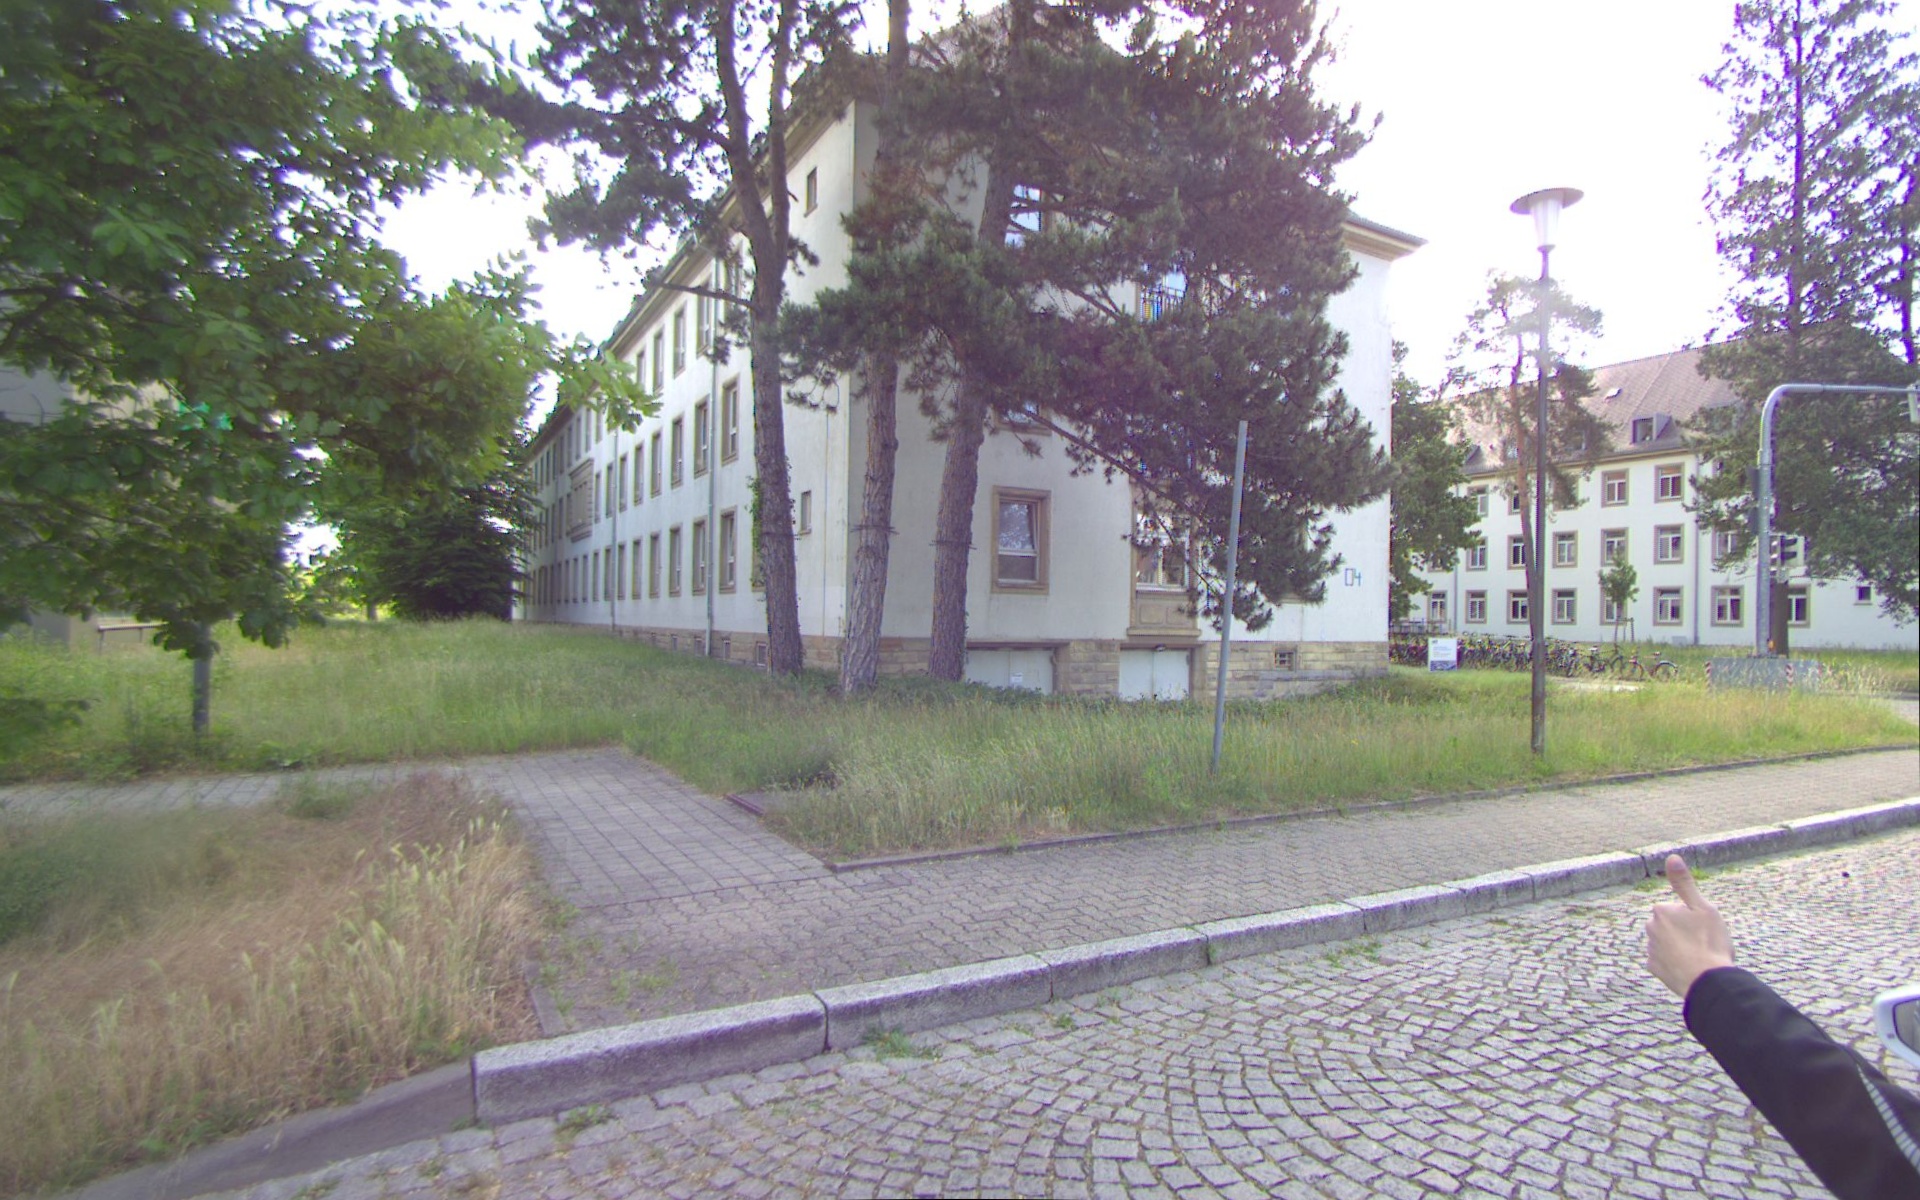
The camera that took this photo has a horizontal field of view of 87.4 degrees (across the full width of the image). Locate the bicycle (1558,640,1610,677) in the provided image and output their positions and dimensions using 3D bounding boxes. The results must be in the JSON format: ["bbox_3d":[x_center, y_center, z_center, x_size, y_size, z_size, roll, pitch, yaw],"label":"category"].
[{"bbox_3d":[21.277,1.990,34.251,2.080,1.237,0.630,2,-1,-31],"label":"bicycle"}]

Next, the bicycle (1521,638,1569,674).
[{"bbox_3d":[20.926,1.988,35.906,2.006,1.237,0.576,2,-1,-31],"label":"bicycle"}]

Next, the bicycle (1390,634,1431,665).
[{"bbox_3d":[18.288,2.016,40.778,1.915,1.237,0.511,2,-1,-31],"label":"bicycle"}]

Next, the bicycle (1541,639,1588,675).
[{"bbox_3d":[21.183,1.991,35.190,1.967,1.237,0.569,2,-1,-31],"label":"bicycle"}]

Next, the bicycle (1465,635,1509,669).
[{"bbox_3d":[19.900,1.961,37.911,1.954,1.237,0.511,2,-1,-31],"label":"bicycle"}]

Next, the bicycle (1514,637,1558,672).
[{"bbox_3d":[21.003,1.991,36.618,1.878,1.237,0.545,2,-1,-31],"label":"bicycle"}]

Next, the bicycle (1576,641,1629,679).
[{"bbox_3d":[21.568,1.996,33.722,2.099,1.237,0.630,2,-1,-31],"label":"bicycle"}]

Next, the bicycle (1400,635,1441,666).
[{"bbox_3d":[18.514,2.021,40.373,1.915,1.237,0.511,2,-1,-31],"label":"bicycle"}]

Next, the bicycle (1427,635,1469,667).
[{"bbox_3d":[19.100,1.983,39.325,1.915,1.237,0.511,2,-1,-31],"label":"bicycle"}]

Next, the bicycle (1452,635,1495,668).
[{"bbox_3d":[19.614,1.952,38.351,1.932,1.237,0.511,2,-1,-31],"label":"bicycle"}]

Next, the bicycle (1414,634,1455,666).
[{"bbox_3d":[18.824,1.993,39.849,1.915,1.237,0.511,2,-1,-31],"label":"bicycle"}]

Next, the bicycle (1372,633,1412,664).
[{"bbox_3d":[17.863,2.007,41.545,1.915,1.237,0.511,2,-1,-31],"label":"bicycle"}]

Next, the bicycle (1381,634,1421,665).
[{"bbox_3d":[18.077,2.012,41.152,1.915,1.237,0.511,2,-1,-31],"label":"bicycle"}]

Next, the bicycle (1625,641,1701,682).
[{"bbox_3d":[22.444,1.947,32.099,0.627,1.237,1.936,1,-1,-29],"label":"bicycle"}]

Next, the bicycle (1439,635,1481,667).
[{"bbox_3d":[19.350,1.967,38.839,1.915,1.237,0.511,2,-1,-31],"label":"bicycle"}]

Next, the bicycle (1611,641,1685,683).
[{"bbox_3d":[21.787,1.949,31.827,0.627,1.237,1.853,1,-1,-29],"label":"bicycle"}]

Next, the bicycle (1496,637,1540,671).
[{"bbox_3d":[20.517,1.979,36.924,1.992,1.237,0.511,2,-1,-31],"label":"bicycle"}]

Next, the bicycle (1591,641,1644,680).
[{"bbox_3d":[21.813,2.000,33.306,2.090,1.237,0.630,2,-1,-31],"label":"bicycle"}]

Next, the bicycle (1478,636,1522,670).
[{"bbox_3d":[20.160,1.971,37.464,1.954,1.237,0.511,2,-1,-31],"label":"bicycle"}]
